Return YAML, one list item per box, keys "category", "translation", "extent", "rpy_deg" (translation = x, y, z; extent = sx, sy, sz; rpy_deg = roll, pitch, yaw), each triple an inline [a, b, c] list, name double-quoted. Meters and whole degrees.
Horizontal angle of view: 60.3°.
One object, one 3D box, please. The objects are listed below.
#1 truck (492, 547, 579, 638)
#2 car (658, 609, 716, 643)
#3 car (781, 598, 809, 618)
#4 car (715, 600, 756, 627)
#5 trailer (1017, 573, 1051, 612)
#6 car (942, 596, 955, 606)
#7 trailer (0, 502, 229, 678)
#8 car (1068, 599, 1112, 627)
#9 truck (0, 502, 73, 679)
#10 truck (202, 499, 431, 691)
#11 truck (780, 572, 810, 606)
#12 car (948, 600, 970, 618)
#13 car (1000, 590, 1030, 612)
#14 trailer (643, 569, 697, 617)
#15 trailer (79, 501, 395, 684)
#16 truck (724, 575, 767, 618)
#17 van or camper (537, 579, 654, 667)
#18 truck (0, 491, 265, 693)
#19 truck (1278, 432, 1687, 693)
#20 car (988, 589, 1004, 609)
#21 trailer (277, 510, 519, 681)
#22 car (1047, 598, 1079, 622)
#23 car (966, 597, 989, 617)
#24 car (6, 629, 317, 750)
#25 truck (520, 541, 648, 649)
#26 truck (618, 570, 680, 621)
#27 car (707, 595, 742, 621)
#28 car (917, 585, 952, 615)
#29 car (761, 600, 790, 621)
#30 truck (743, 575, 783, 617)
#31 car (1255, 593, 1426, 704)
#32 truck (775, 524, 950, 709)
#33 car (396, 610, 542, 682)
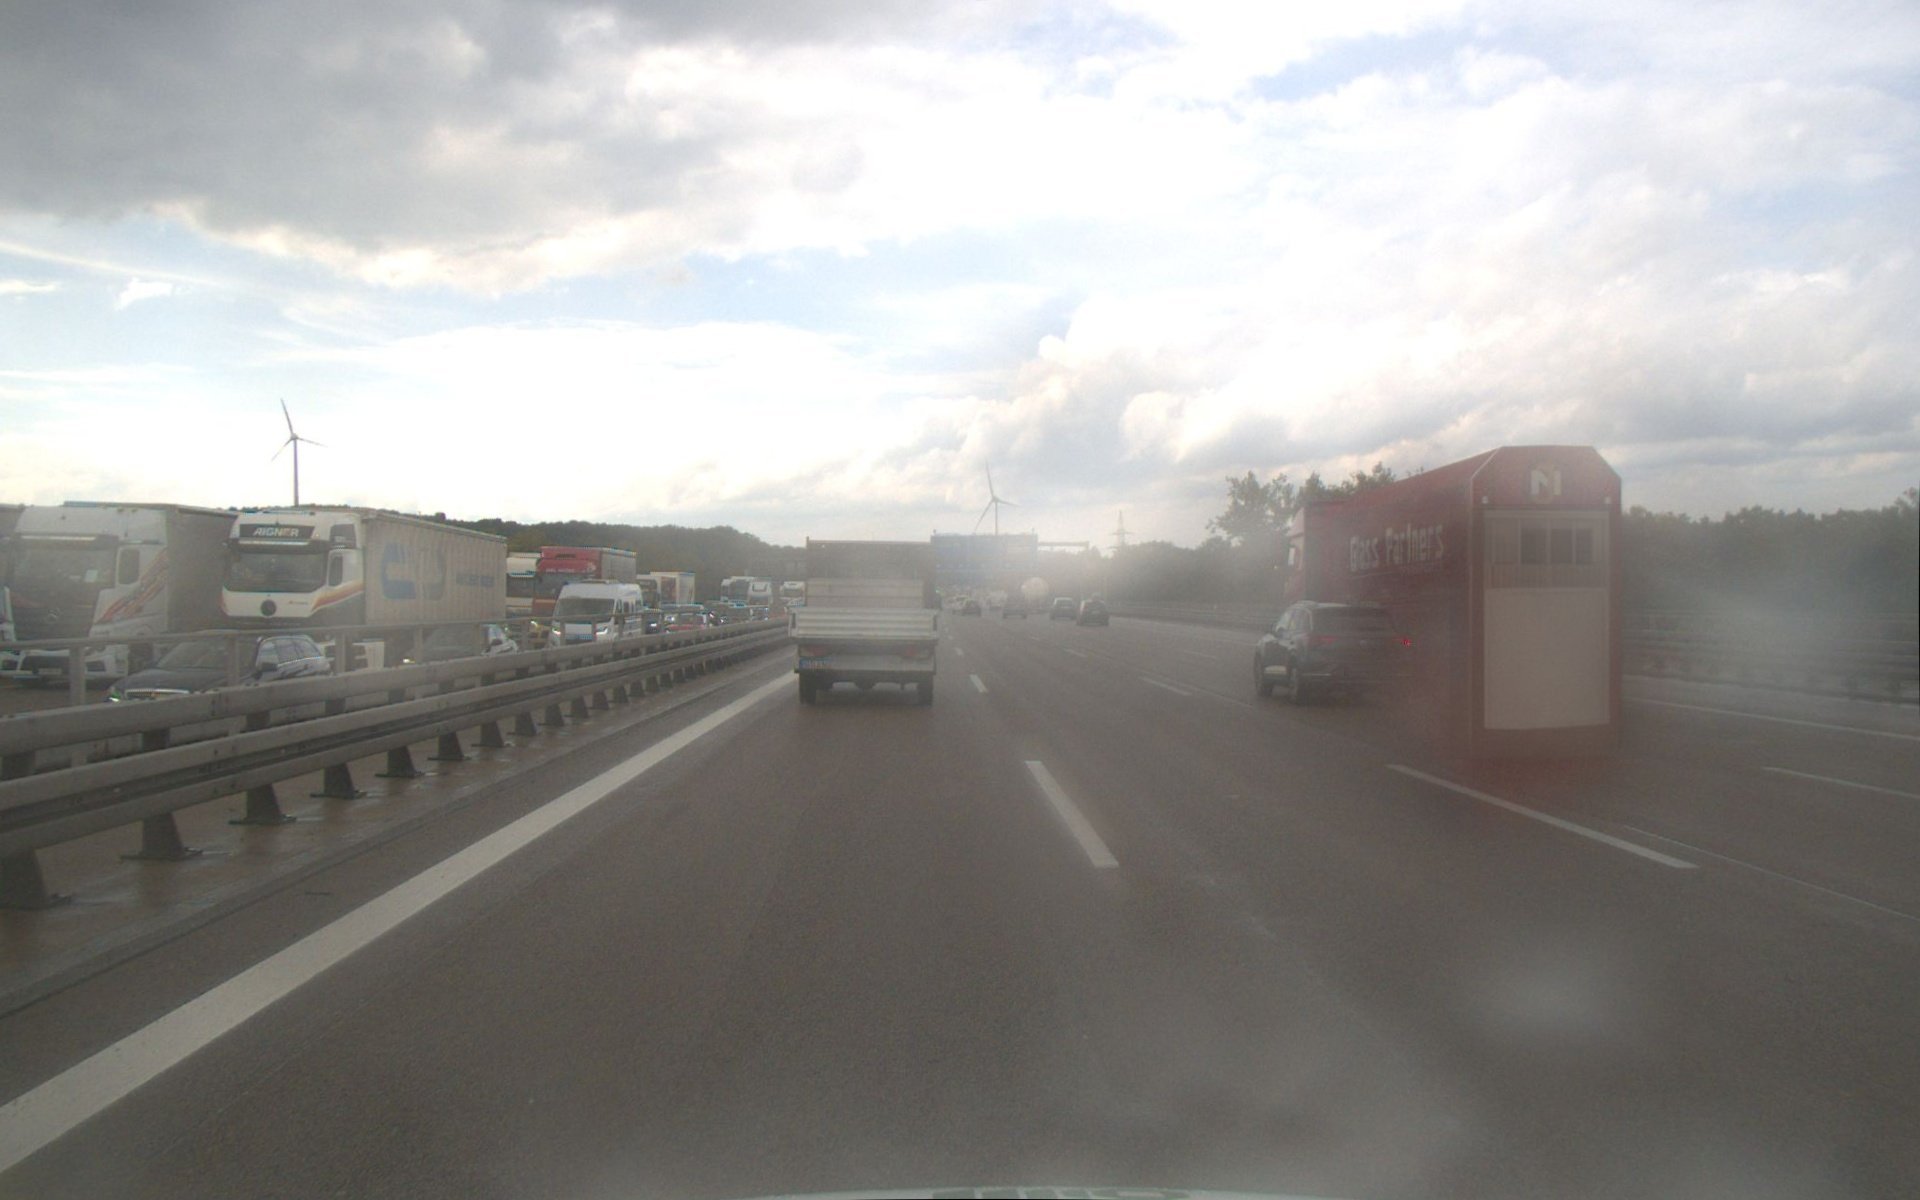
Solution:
- category: "truck"
  translation: [-19.741, -0.352, 77.223]
  extent: [2.787, 4.100, 4.962]
  rpy_deg: [1, 0, -1]
- category: "car"
  translation: [-12.351, 1.163, 75.072]
  extent: [1.884, 1.443, 5.010]
  rpy_deg: [-1, 0, -2]
- category: "car"
  translation: [-13.267, 0.651, 133.234]
  extent: [1.684, 1.529, 5.502]
  rpy_deg: [-1, 0, 0]
- category: "car"
  translation: [-12.738, 0.747, 94.007]
  extent: [1.794, 1.477, 4.000]
  rpy_deg: [-1, 0, 0]
- category: "trailer"
  translation: [8.202, -0.820, 184.355]
  extent: [3.264, 4.249, 11.838]
  rpy_deg: [1, 0, 0]
- category: "car"
  translation: [-1.784, 0.208, 250.263]
  extent: [1.776, 1.471, 3.998]
  rpy_deg: [-1, 0, -3]
- category: "trailer"
  translation: [-23.504, -0.240, 43.966]
  extent: [2.702, 4.063, 12.306]
  rpy_deg: [-1, 0, 0]
- category: "car"
  translation: [8.017, 0.804, 102.646]
  extent: [2.063, 1.634, 5.062]
  rpy_deg: [0, 0, -3]
- category: "truck"
  translation: [-23.459, -0.205, 37.887]
  extent: [2.702, 4.063, 6.576]
  rpy_deg: [-1, 0, 0]
- category: "truck"
  translation: [-15.552, -0.129, 40.671]
  extent: [2.822, 4.253, 7.554]
  rpy_deg: [-1, 0, -2]
- category: "truck"
  translation: [-20.939, -1.416, 210.360]
  extent: [3.113, 4.267, 7.736]
  rpy_deg: [-1, 0, -1]
- category: "car"
  translation: [-0.116, 0.848, 165.158]
  extent: [1.933, 1.729, 3.998]
  rpy_deg: [0, 0, -3]
- category: "car"
  translation: [4.357, 0.081, 132.420]
  extent: [2.055, 1.729, 3.998]
  rpy_deg: [0, 0, -3]
- category: "trailer"
  translation: [-25.192, -0.632, 143.999]
  extent: [3.153, 4.028, 8.849]
  rpy_deg: [1, 0, 0]
- category: "trailer"
  translation: [-19.056, -0.199, 45.034]
  extent: [2.821, 4.218, 13.028]
  rpy_deg: [-1, 0, 0]
- category: "truck"
  translation: [-20.620, -0.340, 159.295]
  extent: [3.134, 4.002, 7.573]
  rpy_deg: [1, 0, 0]
- category: "van or camper"
  translation: [-11.341, 0.670, 52.089]
  extent: [2.232, 2.539, 7.300]
  rpy_deg: [-1, 0, -2]
- category: "truck"
  translation: [-19.085, -0.176, 38.388]
  extent: [2.844, 4.219, 7.101]
  rpy_deg: [-1, 0, 0]
- category: "truck"
  translation: [9.685, -0.643, 33.705]
  extent: [3.088, 4.073, 15.633]
  rpy_deg: [0, 0, -1]
- category: "car"
  translation: [4.502, -0.134, 207.446]
  extent: [2.003, 2.541, 4.000]
  rpy_deg: [0, 0, 0]
- category: "trailer"
  translation: [-15.719, -0.126, 47.688]
  extent: [2.822, 4.218, 13.024]
  rpy_deg: [-1, 0, -2]
- category: "car"
  translation: [7.821, 0.731, 126.150]
  extent: [2.003, 1.729, 5.006]
  rpy_deg: [0, 0, -1]
- category: "car"
  translation: [1.541, 0.642, 149.318]
  extent: [2.003, 1.729, 4.000]
  rpy_deg: [0, 0, -1]
- category: "car"
  translation: [-11.312, 1.192, 23.967]
  extent: [1.974, 1.411, 5.457]
  rpy_deg: [-1, 0, -2]
- category: "truck"
  translation: [-15.920, -0.212, 71.036]
  extent: [2.923, 4.221, 12.518]
  rpy_deg: [-1, 0, -2]
- category: "truck"
  translation: [-25.170, -0.381, 134.394]
  extent: [3.159, 3.978, 10.280]
  rpy_deg: [1, 0, 0]
- category: "car"
  translation: [-16.395, 0.559, 115.234]
  extent: [1.684, 1.758, 5.104]
  rpy_deg: [-1, 0, 0]
- category: "car"
  translation: [-1.457, -0.003, 96.583]
  extent: [2.003, 1.729, 4.000]
  rpy_deg: [0, 0, 0]
- category: "car"
  translation: [-12.791, 0.727, 114.997]
  extent: [1.541, 1.377, 4.384]
  rpy_deg: [-1, 0, 0]
- category: "truck"
  translation: [-16.923, -0.375, 142.502]
  extent: [2.468, 3.458, 8.539]
  rpy_deg: [-1, 0, 0]
- category: "car"
  translation: [5.847, 0.709, 25.849]
  extent: [1.756, 1.590, 3.721]
  rpy_deg: [0, 0, -1]
- category: "truck"
  translation: [-1.499, 0.201, 25.861]
  extent: [2.306, 2.450, 7.353]
  rpy_deg: [1, 0, -3]
- category: "car"
  translation: [-10.975, 0.973, 37.364]
  extent: [1.884, 1.443, 5.163]
  rpy_deg: [-1, 0, -2]
